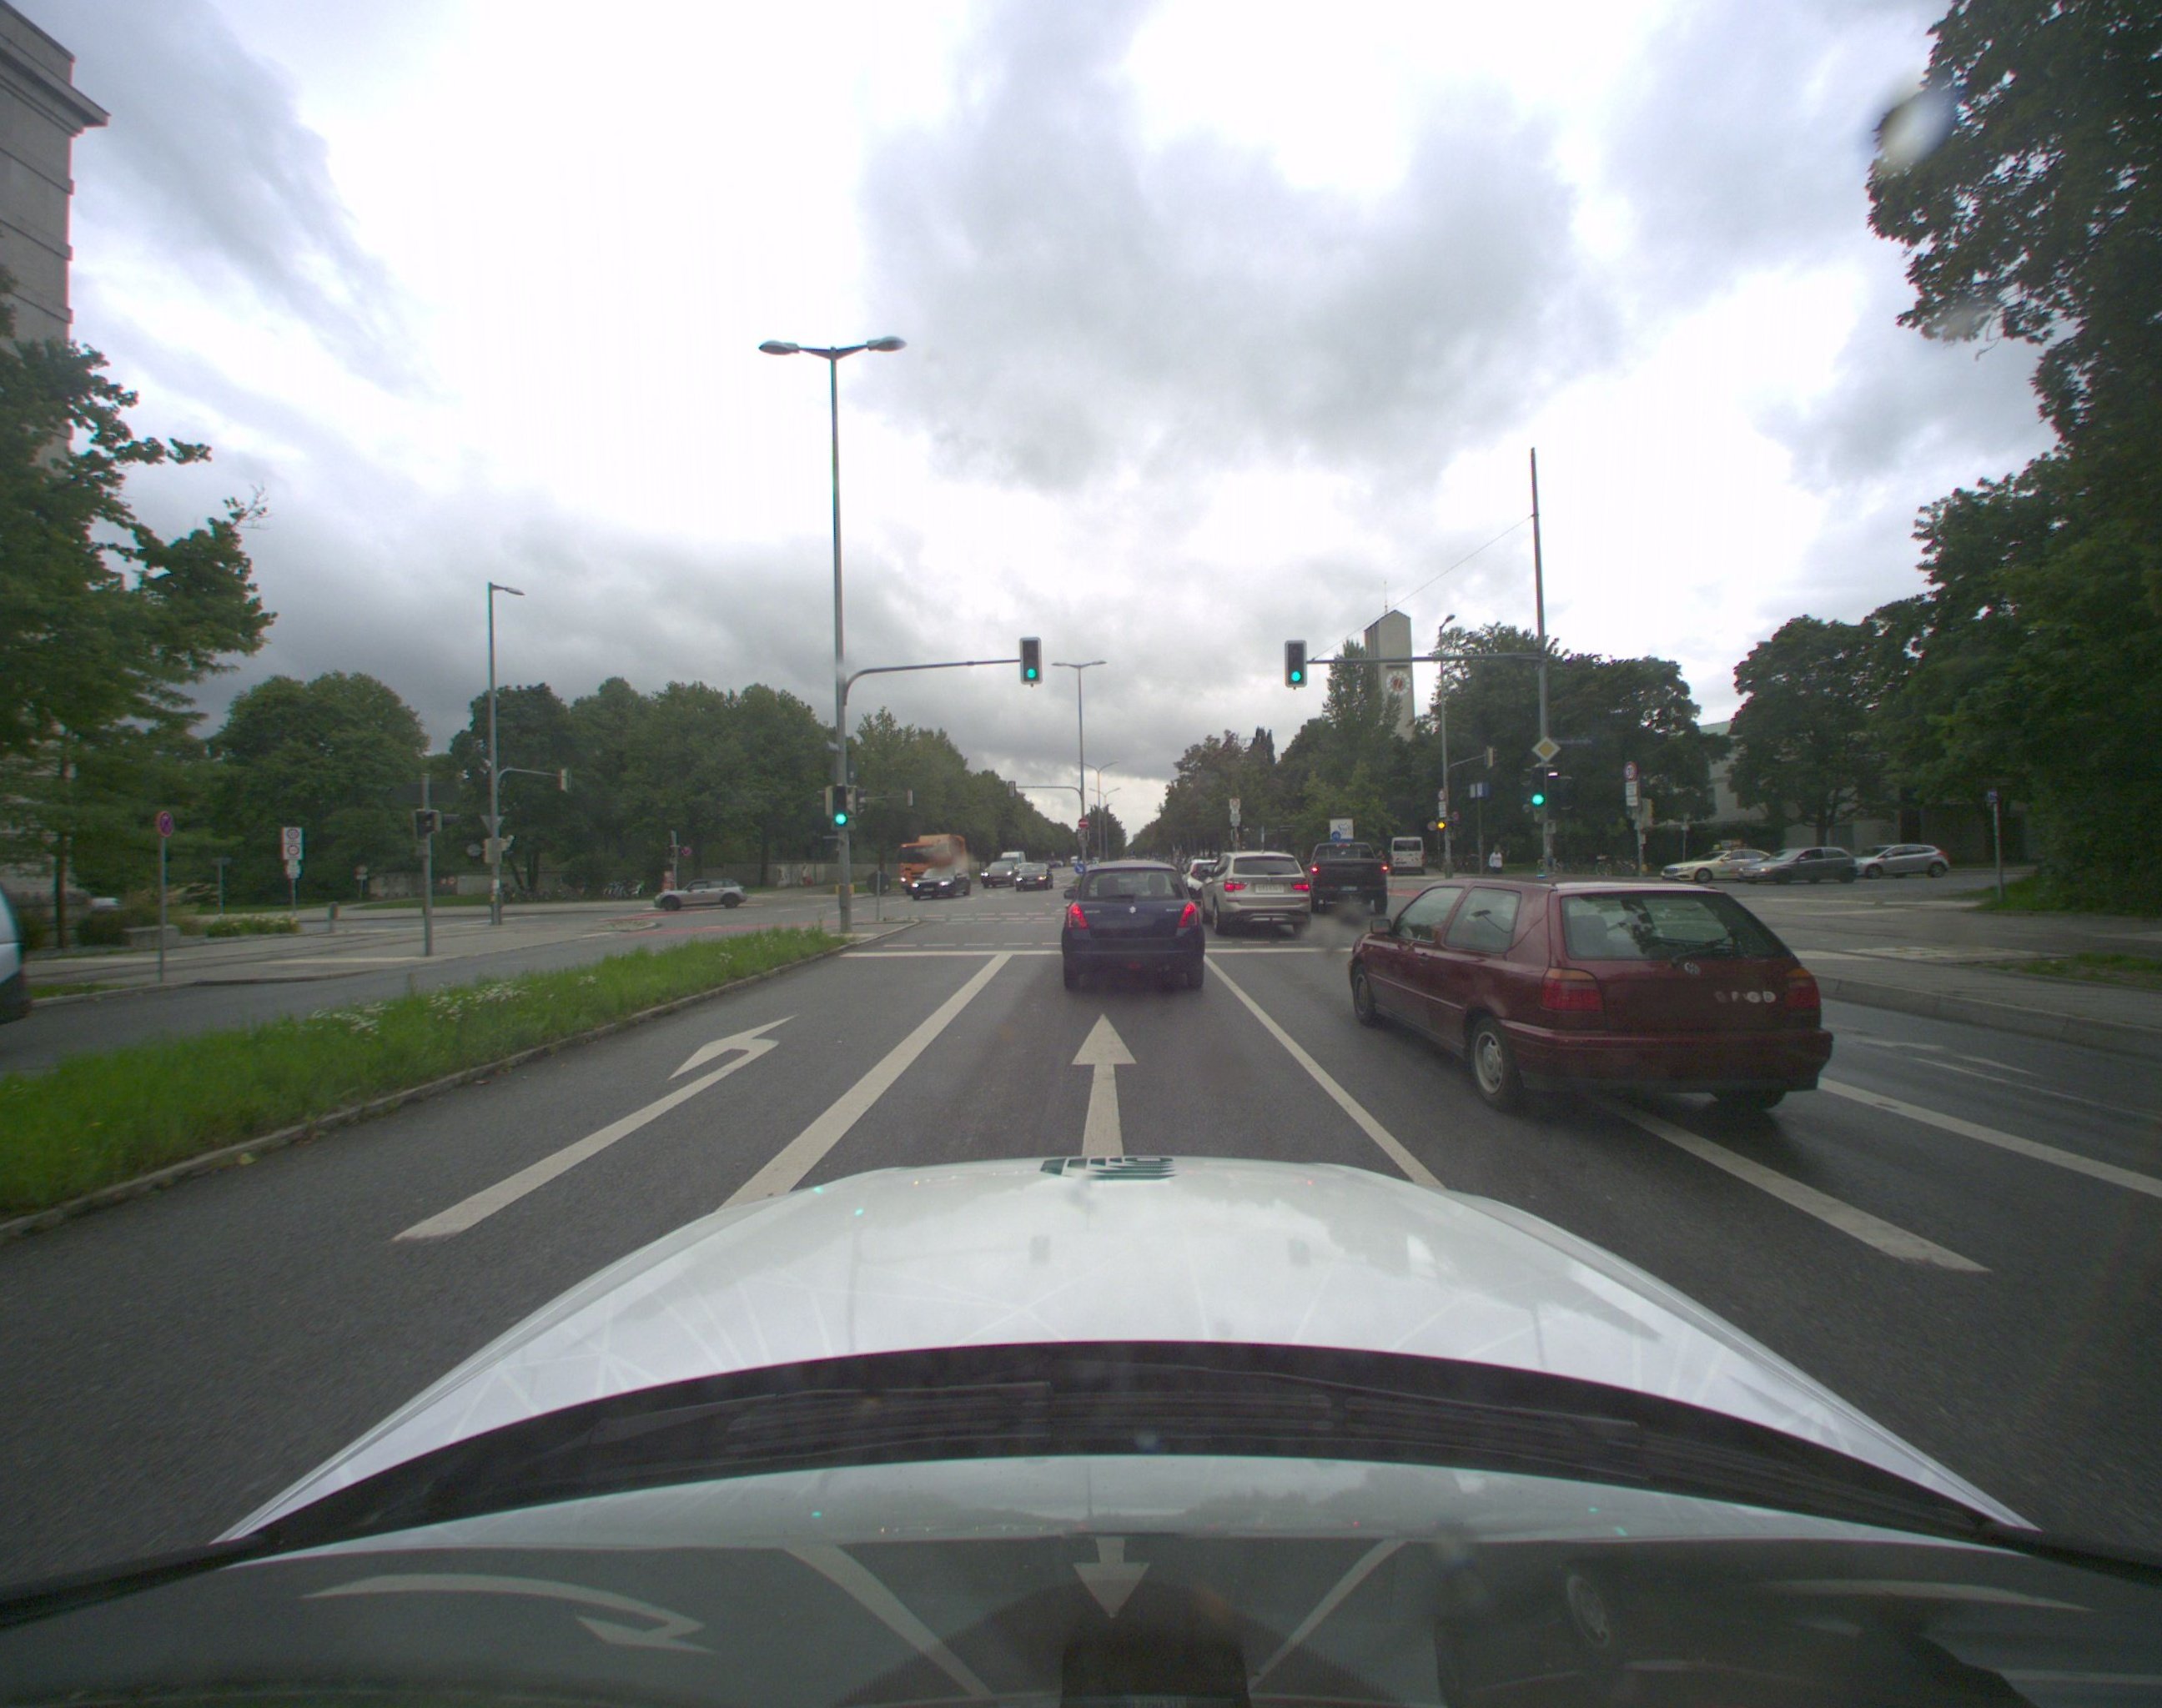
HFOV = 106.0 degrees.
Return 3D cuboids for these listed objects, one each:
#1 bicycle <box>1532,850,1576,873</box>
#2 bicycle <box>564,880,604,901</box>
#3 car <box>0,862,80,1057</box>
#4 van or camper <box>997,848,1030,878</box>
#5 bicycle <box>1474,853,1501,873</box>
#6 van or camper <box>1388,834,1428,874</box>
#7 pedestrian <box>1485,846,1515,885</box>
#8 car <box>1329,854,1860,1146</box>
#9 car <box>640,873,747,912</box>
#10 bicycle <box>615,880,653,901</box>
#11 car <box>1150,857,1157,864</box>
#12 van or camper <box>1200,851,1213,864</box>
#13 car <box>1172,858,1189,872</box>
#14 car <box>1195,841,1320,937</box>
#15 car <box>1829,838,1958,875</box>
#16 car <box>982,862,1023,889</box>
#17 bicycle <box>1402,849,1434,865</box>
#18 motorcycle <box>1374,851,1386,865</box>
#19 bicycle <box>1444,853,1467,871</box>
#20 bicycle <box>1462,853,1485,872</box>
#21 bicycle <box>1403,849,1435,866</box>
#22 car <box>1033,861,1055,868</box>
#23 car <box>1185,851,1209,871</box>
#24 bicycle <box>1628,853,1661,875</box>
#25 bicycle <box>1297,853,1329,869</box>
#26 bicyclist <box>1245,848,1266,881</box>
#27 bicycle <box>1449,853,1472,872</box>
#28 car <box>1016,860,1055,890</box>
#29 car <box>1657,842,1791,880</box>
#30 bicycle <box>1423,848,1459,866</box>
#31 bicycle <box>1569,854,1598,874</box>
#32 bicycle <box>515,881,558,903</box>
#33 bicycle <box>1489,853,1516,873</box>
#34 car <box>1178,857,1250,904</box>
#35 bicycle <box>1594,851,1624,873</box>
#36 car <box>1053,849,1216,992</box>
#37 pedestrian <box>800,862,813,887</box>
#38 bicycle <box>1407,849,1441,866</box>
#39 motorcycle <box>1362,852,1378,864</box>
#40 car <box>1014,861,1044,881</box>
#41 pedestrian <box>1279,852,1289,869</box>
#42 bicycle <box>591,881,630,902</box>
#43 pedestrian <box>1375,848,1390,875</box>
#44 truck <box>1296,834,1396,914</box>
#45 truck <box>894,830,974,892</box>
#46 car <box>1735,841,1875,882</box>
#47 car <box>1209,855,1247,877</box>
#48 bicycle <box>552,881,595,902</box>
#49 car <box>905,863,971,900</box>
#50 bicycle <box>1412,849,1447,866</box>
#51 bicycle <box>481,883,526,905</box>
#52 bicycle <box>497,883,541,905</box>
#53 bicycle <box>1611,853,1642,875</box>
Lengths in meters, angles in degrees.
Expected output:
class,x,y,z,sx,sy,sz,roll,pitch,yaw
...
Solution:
class,x,y,z,sx,sy,sz,roll,pitch,yaw
bicycle,26.471,0.419,45.576,0.704,1.250,2.098,-1,-1,-23
bicycle,-30.366,2.213,49.839,0.832,1.186,2.497,-2,0,2
car,-10.995,0.994,5.966,1.773,1.812,4.431,-2,0,1
van or camper,-6.464,0.849,79.161,2.169,2.647,6.956,-3,0,3
bicycle,24.535,0.517,49.162,0.712,1.153,2.132,-2,0,6
van or camper,20.351,-0.030,50.865,2.123,2.296,6.231,-2,0,21
pedestrian,18.795,0.524,36.556,0.758,1.703,0.937,-1,-1,-7
car,3.210,0.760,6.129,1.615,1.454,3.952,-2,0,3
car,-18.201,1.778,38.521,4.368,1.462,1.918,-3,-1,-22
bicycle,-26.856,2.175,48.959,0.832,1.186,2.497,-2,0,2
car,16.999,1.584,191.137,1.677,1.525,4.460,0,0,4
van or camper,26.879,0.717,174.397,2.015,2.558,5.962,-2,0,3
car,11.608,1.264,94.970,1.710,1.508,4.227,-2,0,3
car,3.585,0.672,17.268,1.843,1.743,4.099,-2,0,2
car,34.908,0.104,35.061,3.924,1.454,1.627,-2,-1,0
car,-4.903,1.335,51.556,1.854,1.542,4.753,-2,-1,3
bicycle,27.400,0.267,66.283,2.329,1.157,0.529,-4,0,2
motorcycle,26.120,0.327,71.158,0.650,1.177,1.825,-2,0,28
bicycle,24.925,0.538,54.190,0.709,1.153,2.142,-2,-1,43
bicycle,25.024,0.527,51.937,0.709,1.153,2.142,-2,-1,43
bicycle,27.098,0.264,65.290,2.329,1.157,0.529,-4,0,2
car,-7.306,2.128,161.474,4.014,1.354,1.832,-1,-1,-32
car,10.340,0.570,72.674,1.740,1.724,4.910,-1,0,3
bicycle,29.514,0.510,42.696,0.604,1.095,2.121,-2,0,11
bicycle,18.665,0.578,65.586,2.329,1.157,0.529,-4,0,2
bicyclist,9.498,0.582,44.354,0.831,1.764,0.739,-1,-1,-33
bicycle,24.466,0.533,52.505,0.709,1.153,2.142,-2,-1,43
car,-2.351,1.064,42.877,1.633,1.487,3.784,-2,-1,3
car,27.651,0.299,35.118,4.287,1.497,1.887,-2,-1,-1
bicycle,26.454,0.244,59.828,2.329,1.157,0.529,-4,0,2
bicycle,27.570,0.534,44.711,0.604,1.095,2.121,-2,0,11
bicycle,-32.903,2.292,49.290,0.832,1.186,2.497,-2,0,2
bicycle,25.346,0.509,49.009,0.693,1.153,2.132,-2,0,6
car,4.413,0.846,27.638,1.843,1.447,4.099,-2,0,2
bicycle,28.206,0.415,43.542,0.603,1.095,2.121,-2,0,12
car,0.656,0.755,11.089,1.782,1.555,4.001,-2,0,1
pedestrian,-19.310,1.447,57.254,0.705,1.740,0.517,-2,-1,-2
bicycle,26.737,0.258,63.470,2.329,1.157,0.529,-4,0,2
motorcycle,25.454,0.348,71.767,0.650,1.062,1.825,-2,-1,41
car,-4.080,1.305,64.676,1.720,1.487,4.747,-2,0,4
pedestrian,18.545,0.590,74.518,0.579,1.513,0.690,-1,-1,-15
bicycle,-28.223,2.234,48.890,0.832,1.186,2.497,-2,0,2
pedestrian,17.340,0.412,46.831,0.684,1.538,0.741,-2,-1,22
truck,7.622,0.534,24.017,2.085,2.014,5.830,-2,-1,11
truck,-8.509,0.425,48.098,2.767,3.356,7.276,-1,-1,5
car,28.137,0.298,31.743,3.920,1.454,1.628,-2,-1,3
car,9.579,0.788,53.369,1.704,1.360,4.622,-1,0,1
bicycle,-31.902,2.317,51.239,0.832,1.186,2.885,-2,0,2
car,-6.522,1.229,37.679,1.919,1.462,4.900,-4,-1,2
bicycle,26.704,0.254,62.413,2.329,1.157,0.529,-4,0,2
bicycle,-34.983,2.396,49.381,0.832,1.186,2.497,-2,0,2
bicycle,-33.981,2.391,49.302,0.832,1.186,2.497,-2,0,2
bicycle,28.948,0.516,43.248,0.604,1.095,2.121,-2,0,11
